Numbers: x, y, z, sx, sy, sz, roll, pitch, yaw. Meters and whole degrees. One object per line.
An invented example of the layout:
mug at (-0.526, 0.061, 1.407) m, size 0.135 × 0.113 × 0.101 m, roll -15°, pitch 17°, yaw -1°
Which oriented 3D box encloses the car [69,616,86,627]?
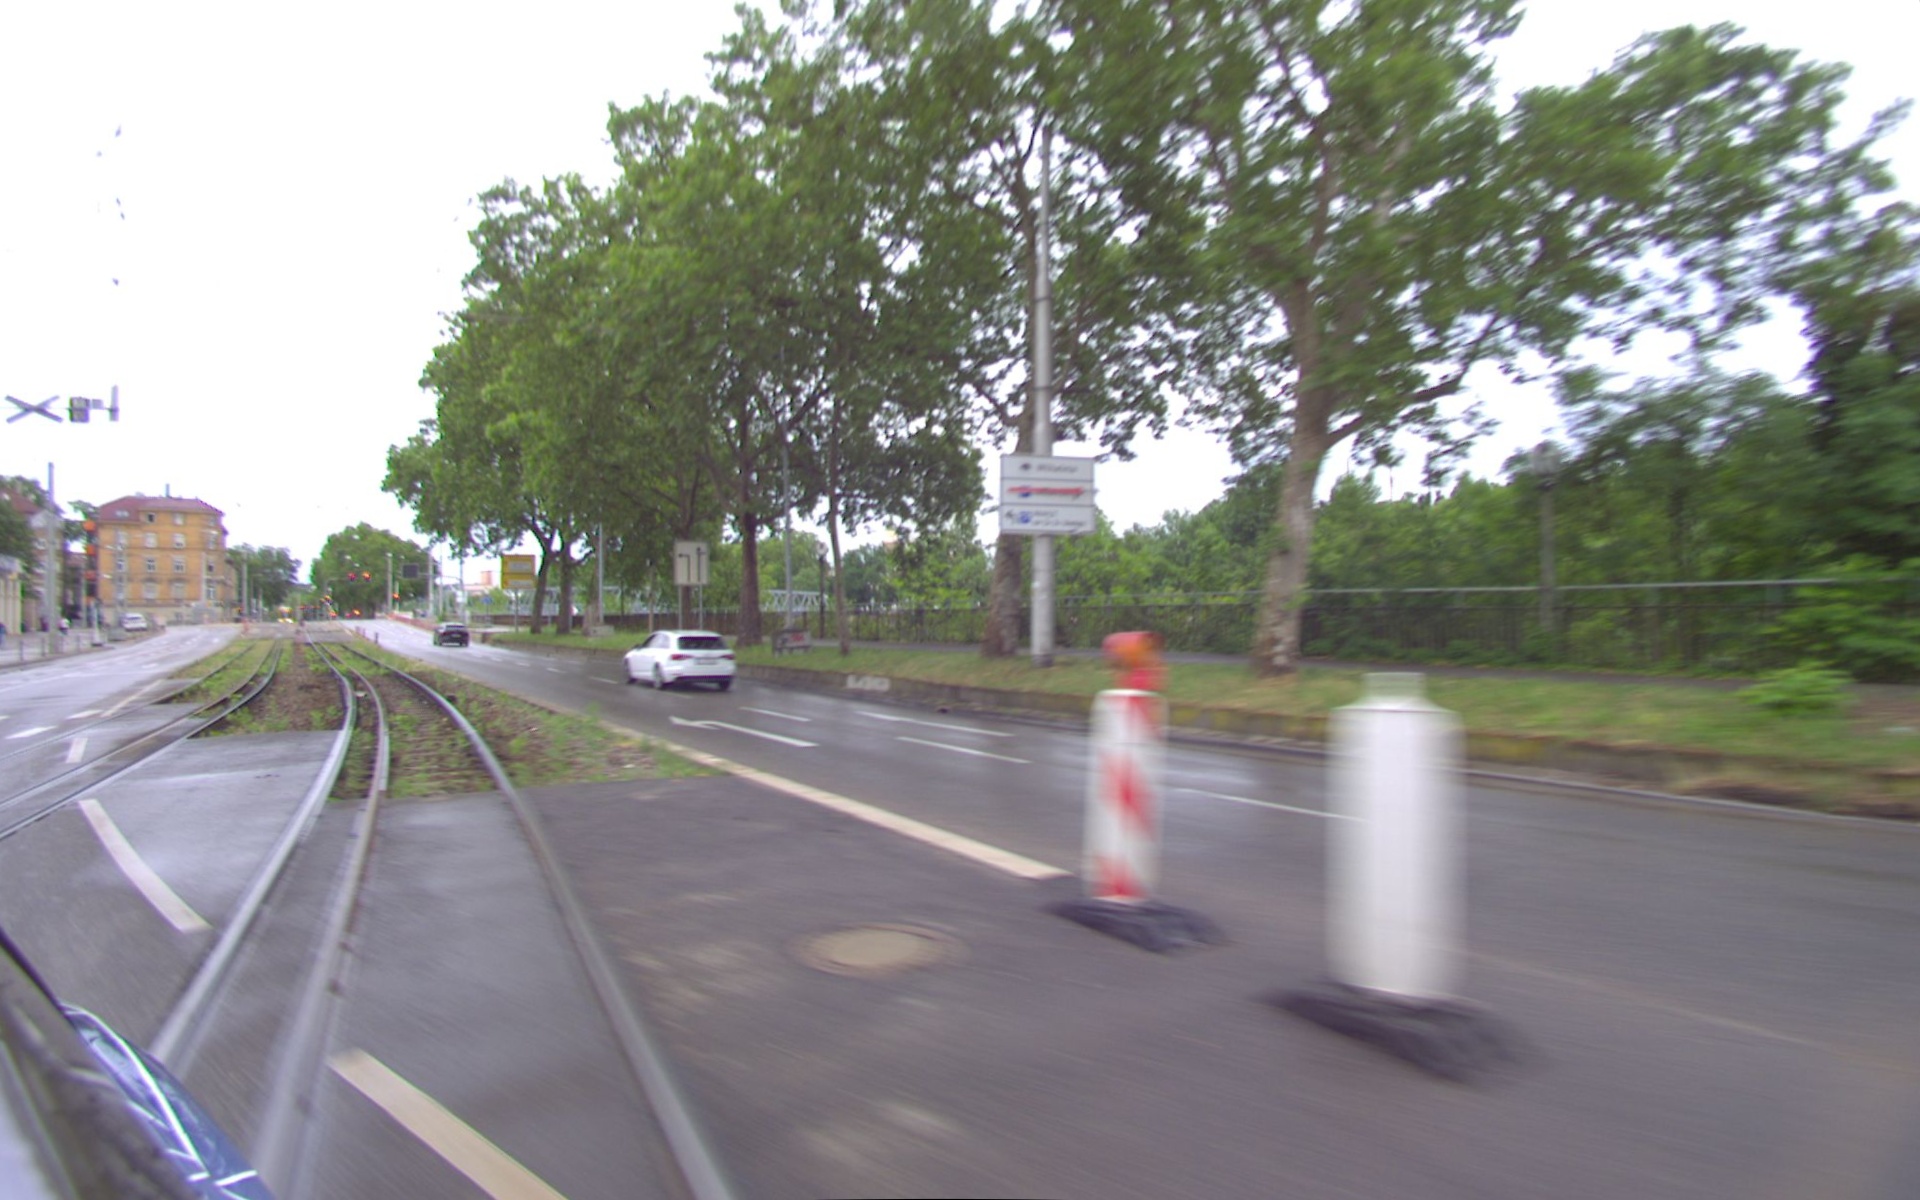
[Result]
car at (-131.999, 3.229, 151.436) m, size 1.803 × 1.594 × 4.007 m, roll 0°, pitch -1°, yaw -40°

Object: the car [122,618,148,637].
car at (-82.011, 2.705, 100.594) m, size 1.815 × 1.651 × 4.151 m, roll -4°, pitch 2°, yaw -38°

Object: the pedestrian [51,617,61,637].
pedestrian at (-77.307, 2.311, 86.532) m, size 0.619 × 1.657 × 0.782 m, roll 0°, pitch -1°, yaw -41°

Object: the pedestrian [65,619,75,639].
pedestrian at (-76.559, 2.488, 87.087) m, size 0.586 × 1.749 × 0.841 m, roll 0°, pitch -1°, yaw -36°

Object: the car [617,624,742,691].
car at (-7.115, 1.369, 25.352) m, size 1.685 × 1.510 × 4.733 m, roll 2°, pitch -2°, yaw -32°

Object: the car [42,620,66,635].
car at (-99.558, 3.005, 111.181) m, size 1.803 × 1.594 × 4.007 m, roll 0°, pitch -1°, yaw -40°

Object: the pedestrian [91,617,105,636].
pedestrian at (-87.044, 2.653, 102.226) m, size 0.692 × 1.820 × 0.777 m, roll -1°, pitch 1°, yaw 16°

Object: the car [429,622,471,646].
car at (-32.306, 2.150, 64.079) m, size 1.723 × 1.441 × 4.572 m, roll 1°, pitch -2°, yaw -35°

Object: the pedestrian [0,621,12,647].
pedestrian at (-59.777, 2.129, 63.022) m, size 0.852 × 1.603 × 0.669 m, roll 1°, pitch -2°, yaw -8°
